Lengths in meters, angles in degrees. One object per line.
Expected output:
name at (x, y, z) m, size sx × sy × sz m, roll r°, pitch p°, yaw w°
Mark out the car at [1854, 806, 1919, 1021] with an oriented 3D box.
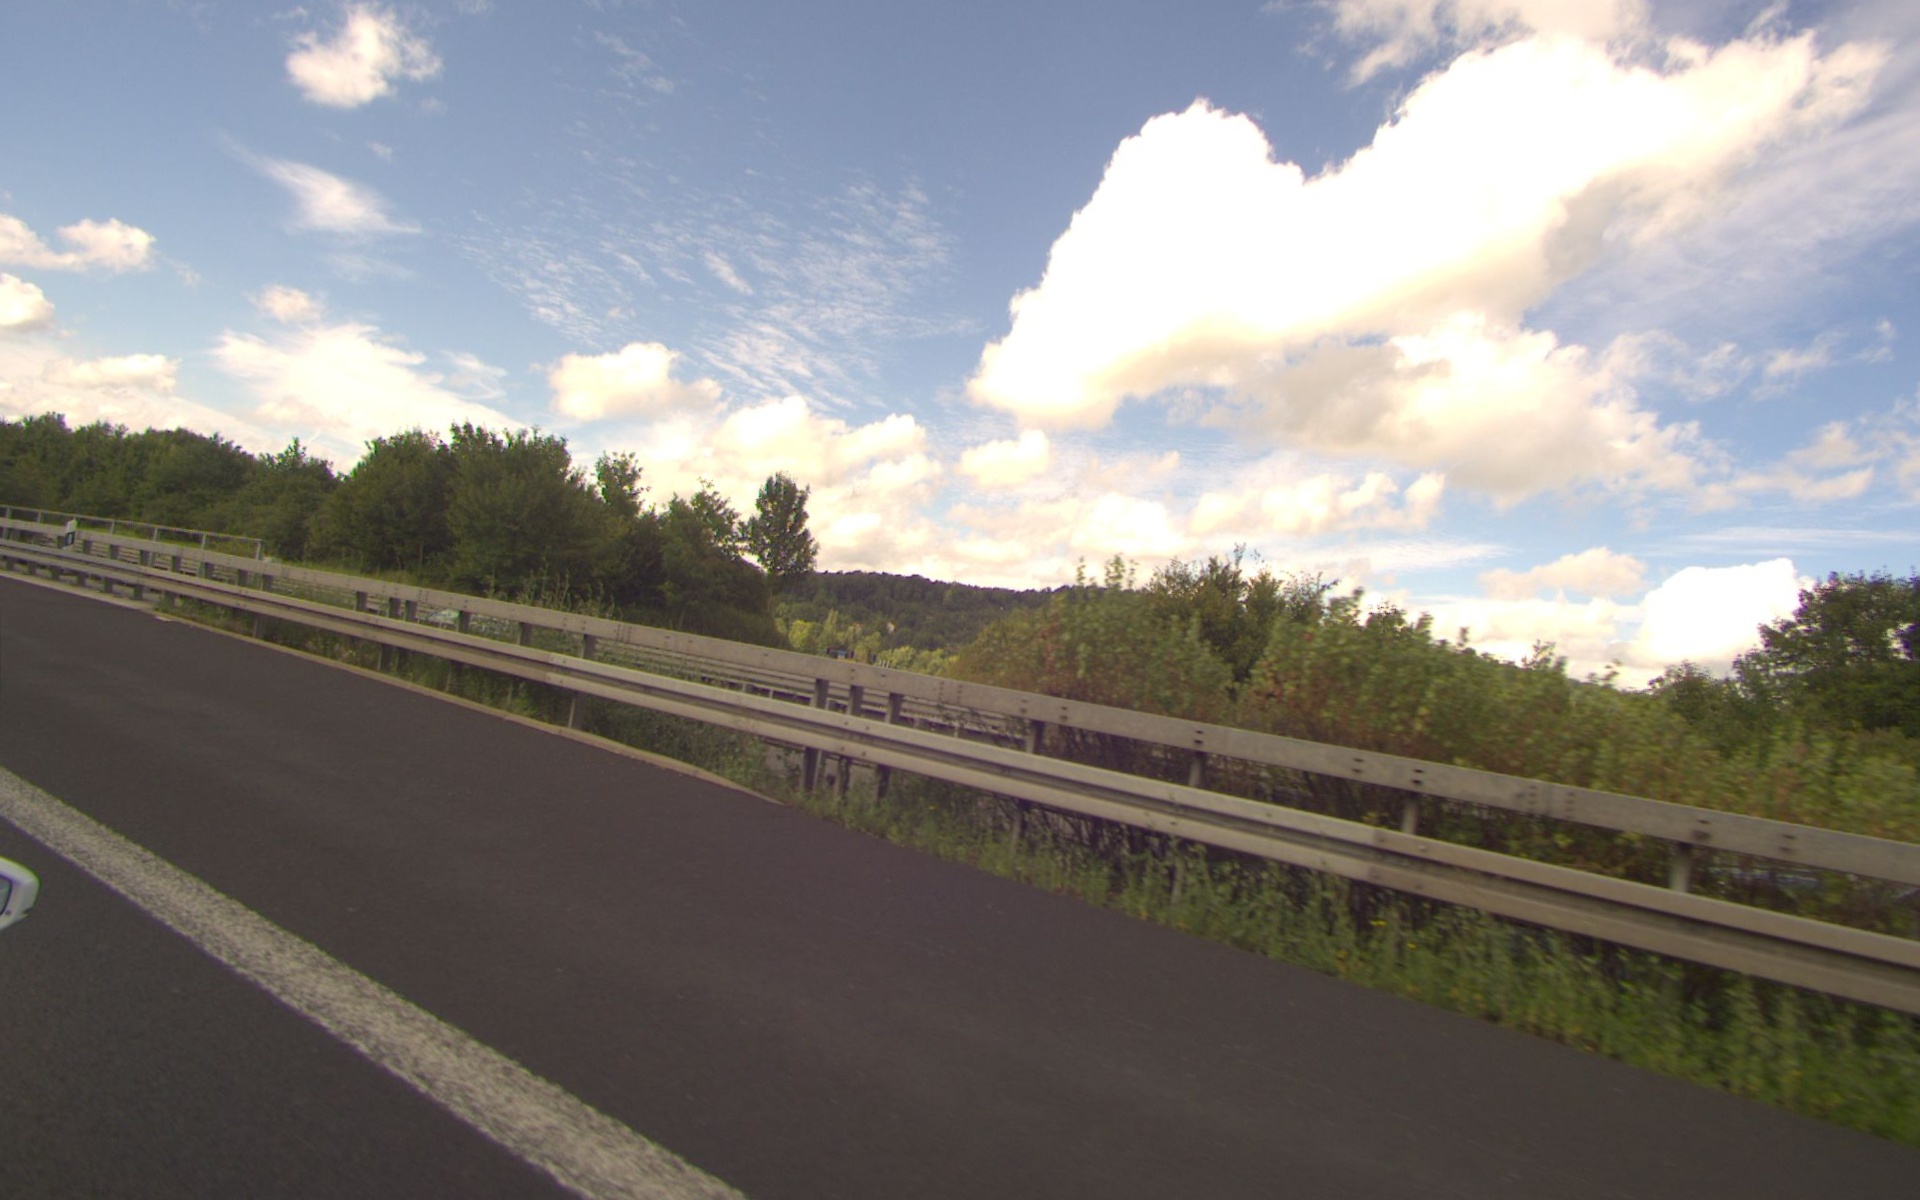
car at (9.779, 2.779, 7.291) m, size 4.602 × 1.536 × 1.786 m, roll 6°, pitch -2°, yaw 34°
